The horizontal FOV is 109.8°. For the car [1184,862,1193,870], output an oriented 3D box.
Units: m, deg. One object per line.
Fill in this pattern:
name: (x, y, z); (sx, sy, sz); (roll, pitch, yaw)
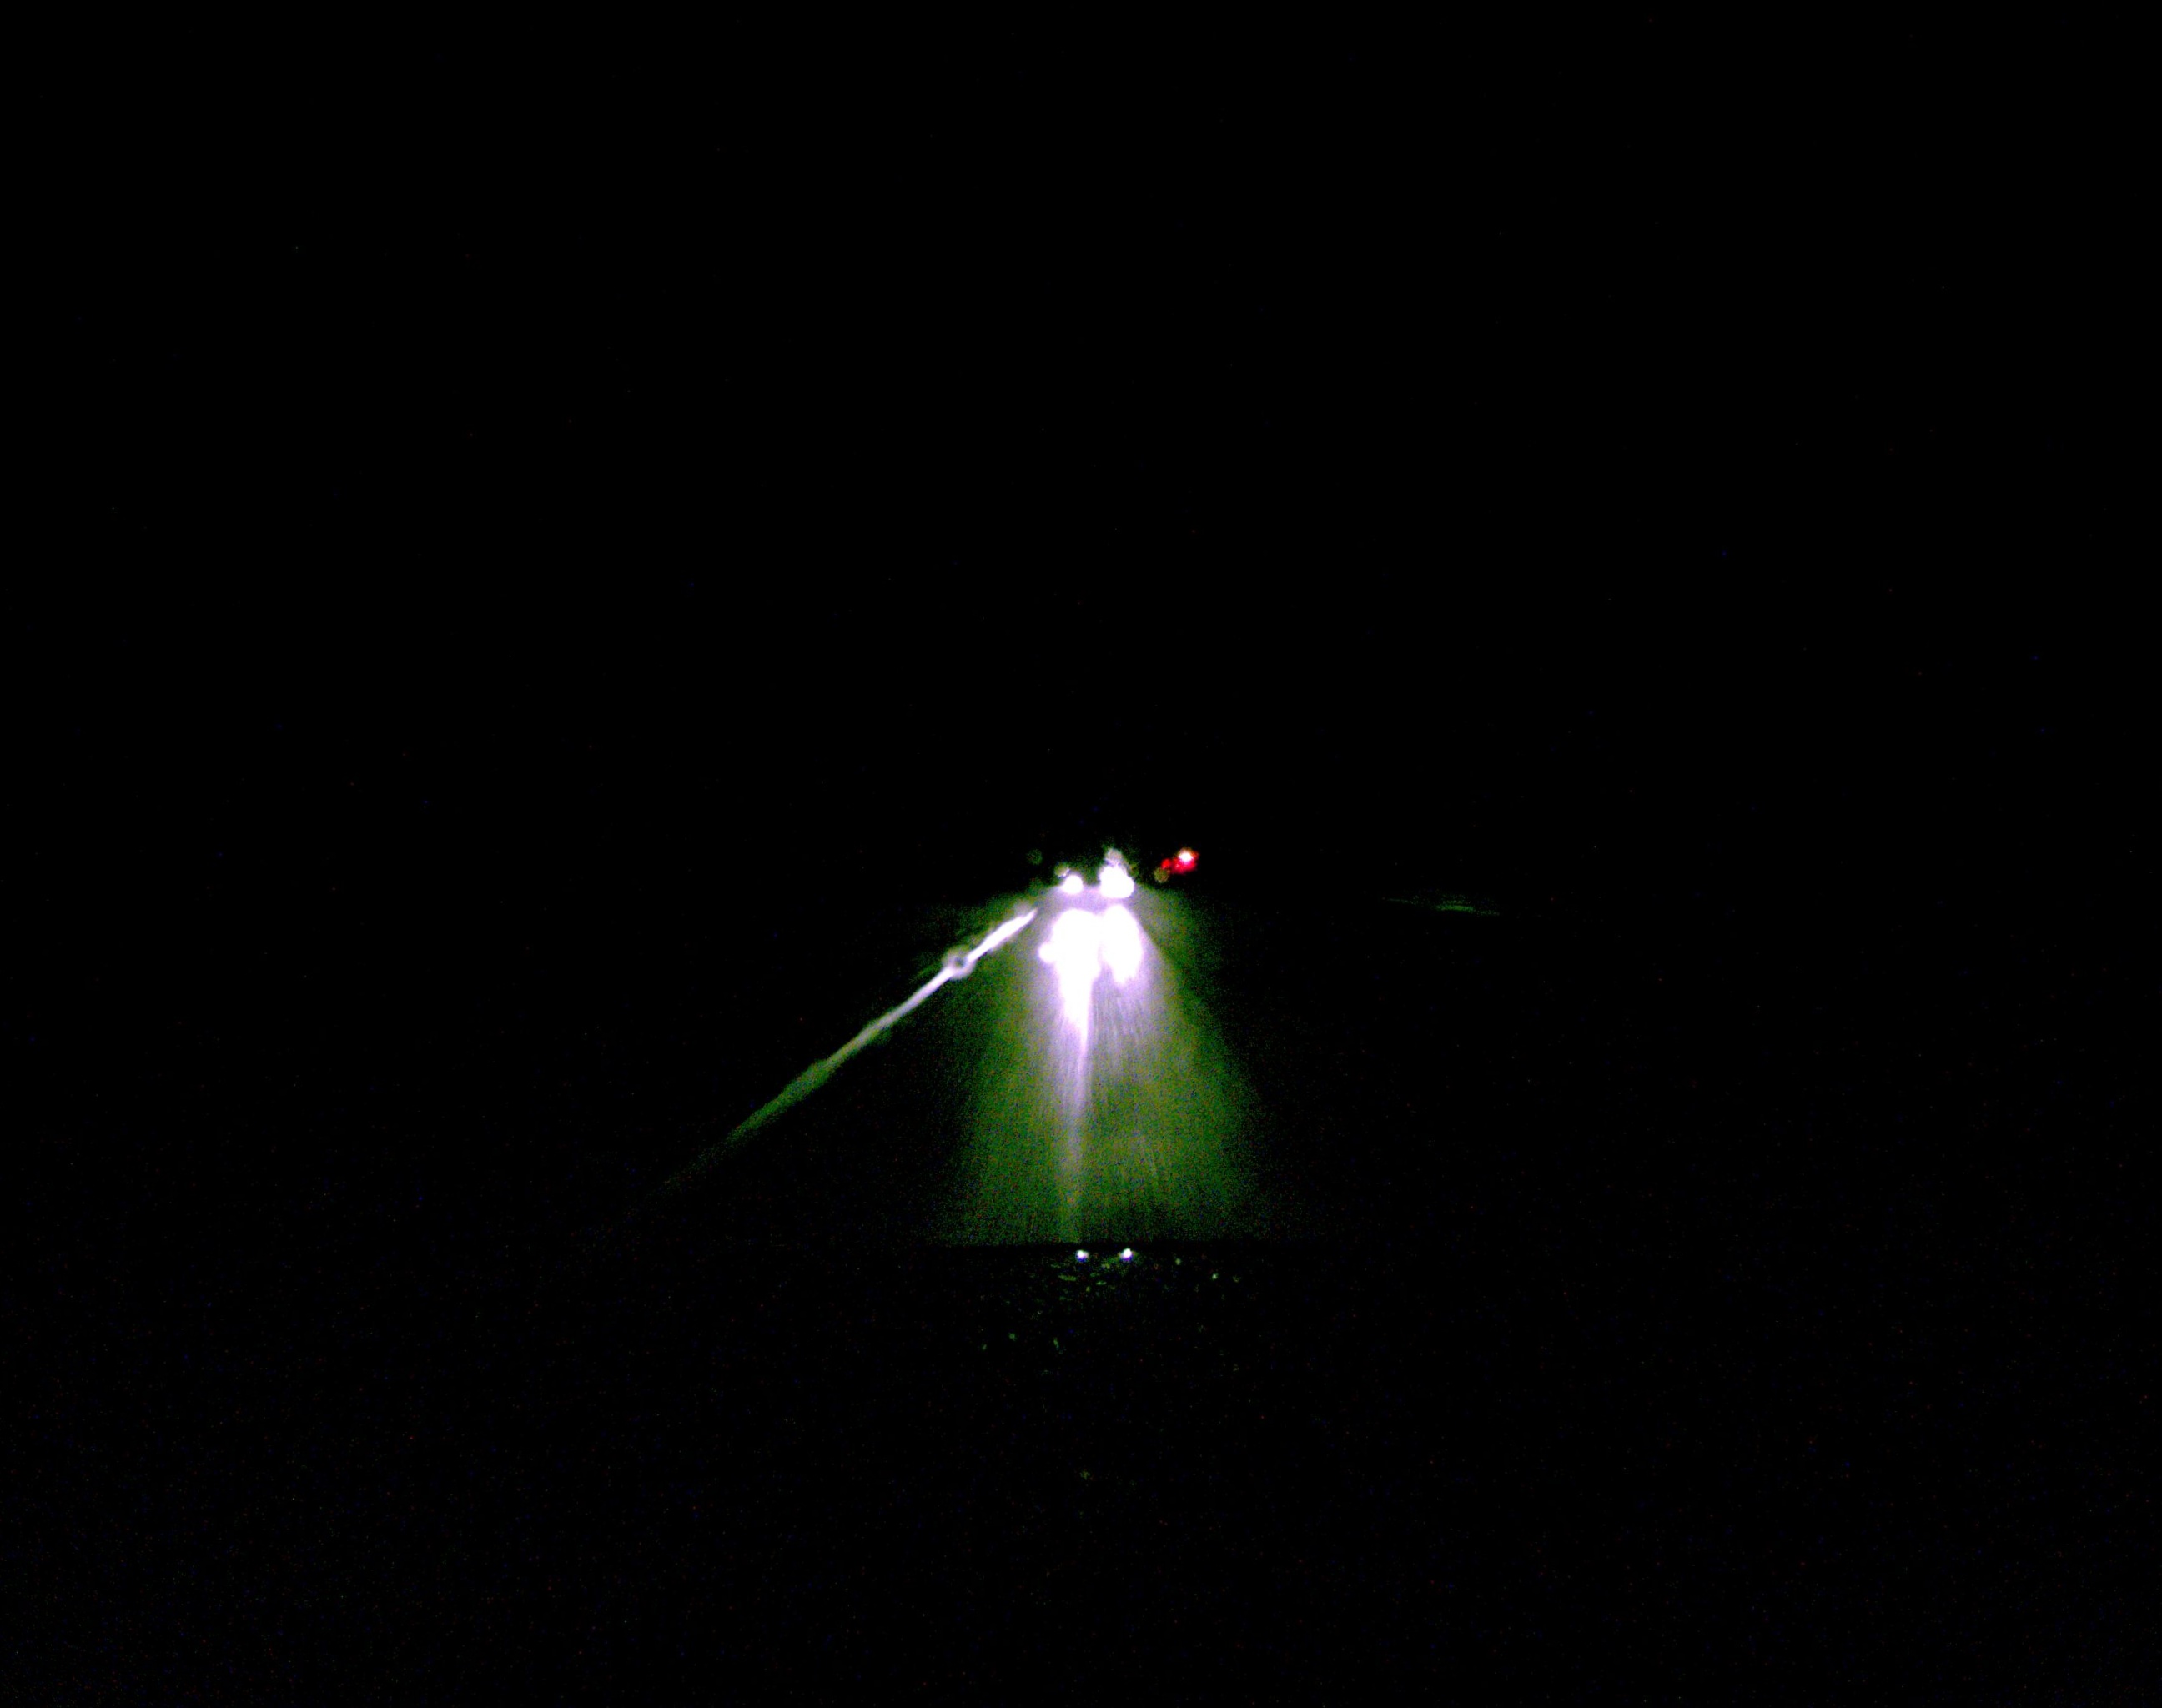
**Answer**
car: (20.868, 2.313, 147.680); (1.597, 1.501, 3.604); (1, -1, 10)

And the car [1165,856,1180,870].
car: (10.028, 0.989, 83.643); (1.566, 1.516, 3.488); (1, -1, 6)

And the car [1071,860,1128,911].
car: (0.566, 1.003, 25.996); (1.745, 1.501, 3.600); (-3, 0, 0)
